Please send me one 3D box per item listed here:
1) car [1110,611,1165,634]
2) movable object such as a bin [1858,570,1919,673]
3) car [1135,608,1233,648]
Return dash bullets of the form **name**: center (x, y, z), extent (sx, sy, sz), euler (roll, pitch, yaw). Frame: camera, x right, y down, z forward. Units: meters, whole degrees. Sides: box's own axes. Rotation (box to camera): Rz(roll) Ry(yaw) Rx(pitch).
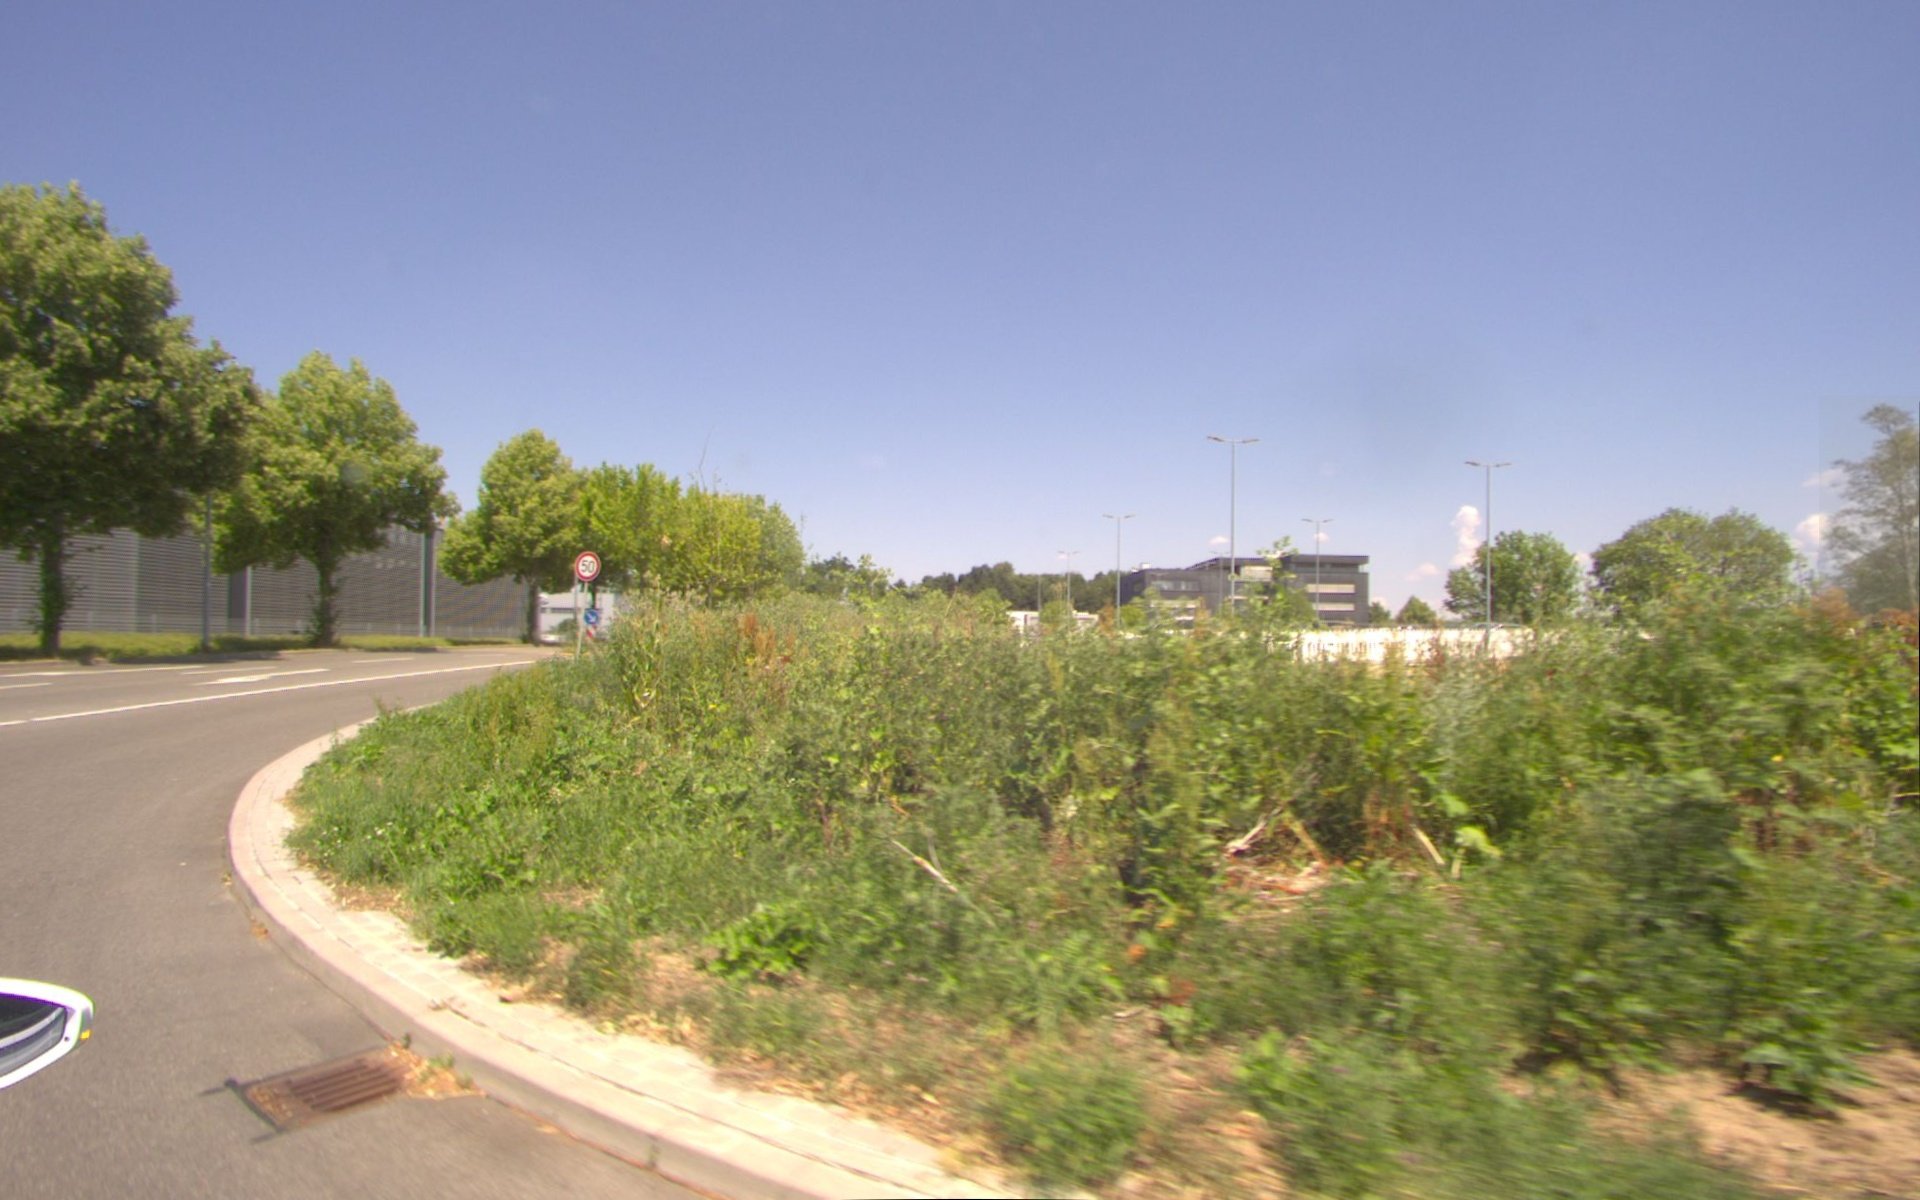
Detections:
- **car**: center (13.787, 1.765, 78.001), extent (3.922, 1.661, 1.928), euler (0, -3, -2)
- **movable object such as a bin**: center (41.267, 0.802, 42.698), extent (8.006, 4.099, 2.965), euler (-1, 1, -37)
- **car**: center (11.155, 1.403, 50.057), extent (4.390, 1.939, 1.940), euler (-1, -1, -3)
